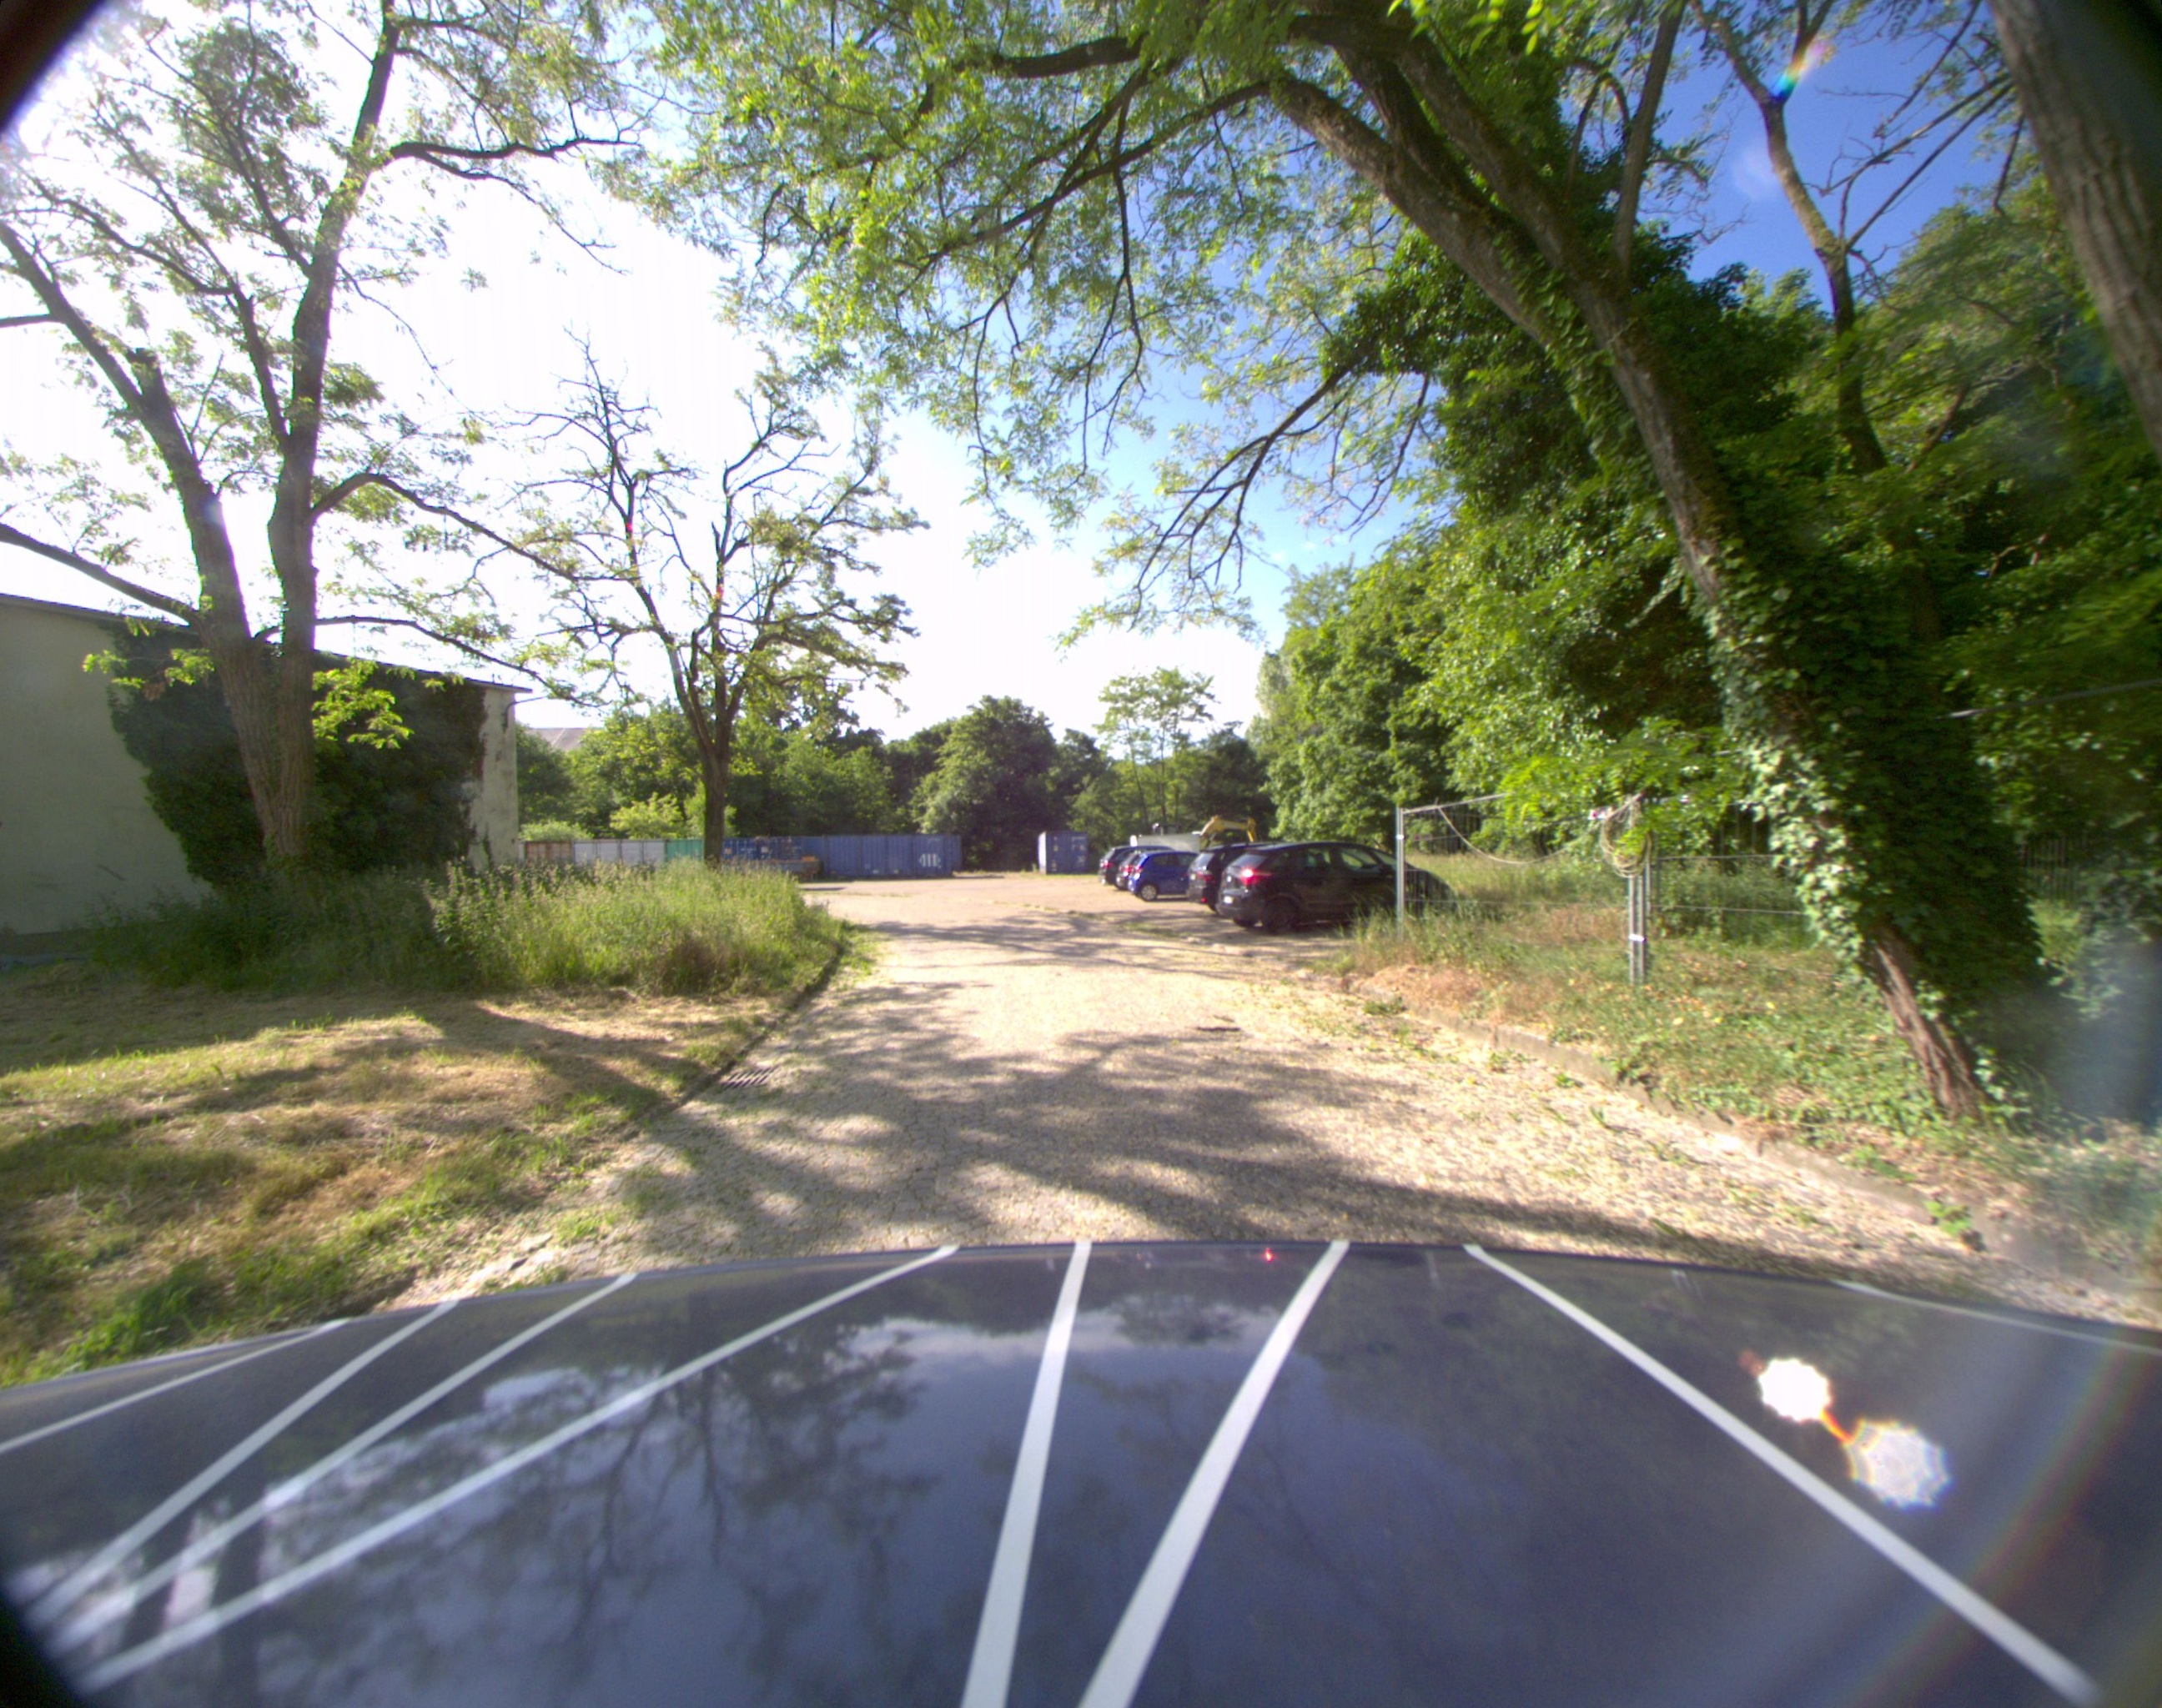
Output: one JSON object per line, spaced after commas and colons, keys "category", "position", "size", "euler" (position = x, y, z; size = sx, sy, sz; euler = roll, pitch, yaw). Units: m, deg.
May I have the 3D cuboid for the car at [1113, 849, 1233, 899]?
{"category": "car", "position": [3.034, 0.627, 25.491], "size": [3.662, 1.443, 1.833], "euler": [-3, 1, -5]}

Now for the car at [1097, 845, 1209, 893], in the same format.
{"category": "car", "position": [2.588, 0.527, 27.897], "size": [3.818, 1.631, 1.867], "euler": [-1, 1, -3]}

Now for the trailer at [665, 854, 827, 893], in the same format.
{"category": "trailer", "position": [-15.871, 0.905, 36.413], "size": [6.491, 1.509, 2.853], "euler": [-2, 2, -5]}

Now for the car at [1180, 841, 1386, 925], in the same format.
{"category": "car", "position": [4.585, 0.625, 17.564], "size": [4.189, 1.646, 1.816], "euler": [-2, 1, -6]}

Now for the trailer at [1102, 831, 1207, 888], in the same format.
{"category": "trailer", "position": [2.937, 0.219, 30.852], "size": [3.971, 2.082, 1.638], "euler": [-2, 1, -4]}

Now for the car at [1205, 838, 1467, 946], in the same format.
{"category": "car", "position": [4.748, 0.648, 14.397], "size": [4.300, 1.642, 1.791], "euler": [-3, 1, -10]}

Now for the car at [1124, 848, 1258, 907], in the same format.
{"category": "car", "position": [3.231, 0.670, 22.836], "size": [3.661, 1.484, 1.714], "euler": [-3, 1, -3]}

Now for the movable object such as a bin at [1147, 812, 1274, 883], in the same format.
{"category": "movable object such as a bin", "position": [5.601, -0.270, 33.344], "size": [5.161, 2.949, 2.000], "euler": [-1, 1, 0]}
